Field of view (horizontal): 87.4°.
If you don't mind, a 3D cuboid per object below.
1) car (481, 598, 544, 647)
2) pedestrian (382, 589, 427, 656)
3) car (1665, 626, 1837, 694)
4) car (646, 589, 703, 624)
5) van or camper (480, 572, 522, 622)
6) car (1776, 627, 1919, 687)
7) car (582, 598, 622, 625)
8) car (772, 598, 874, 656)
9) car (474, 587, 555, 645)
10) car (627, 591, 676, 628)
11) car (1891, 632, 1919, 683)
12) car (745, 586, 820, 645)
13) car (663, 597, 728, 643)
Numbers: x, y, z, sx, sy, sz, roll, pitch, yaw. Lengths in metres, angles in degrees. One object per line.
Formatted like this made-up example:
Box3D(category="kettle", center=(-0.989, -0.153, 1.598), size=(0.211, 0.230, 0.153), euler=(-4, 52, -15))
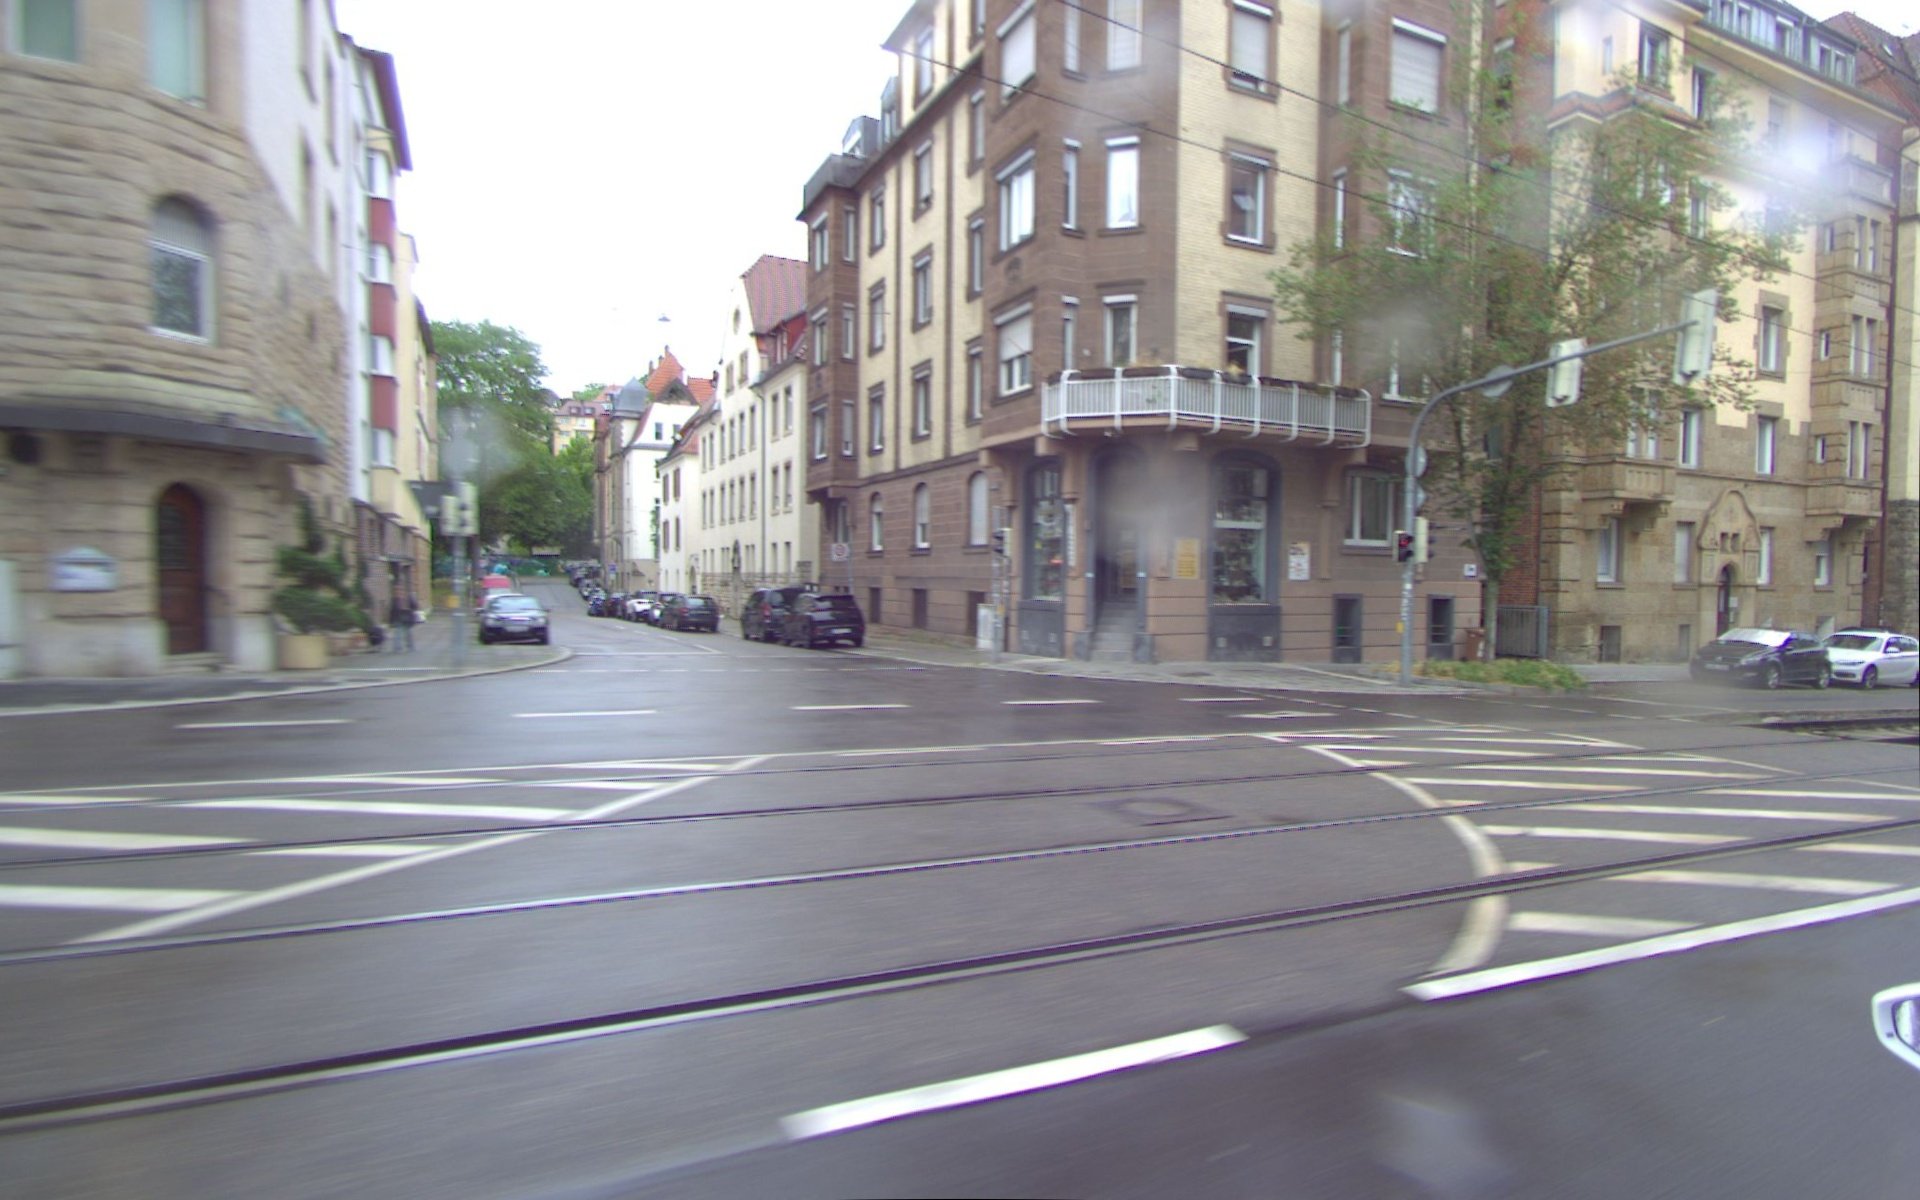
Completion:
Box3D(category="car", center=(-15.081, 0.728, 33.835), size=(1.793, 1.502, 3.975), euler=(2, -1, -25))
Box3D(category="pedestrian", center=(-12.200, 0.493, 22.087), size=(0.711, 1.434, 0.815), euler=(3, -1, -23))
Box3D(category="car", center=(19.565, 1.486, 24.830), size=(3.947, 1.506, 1.759), euler=(3, 0, -26))
Box3D(category="car", center=(-13.262, 0.276, 46.548), size=(1.972, 1.506, 3.976), euler=(2, 0, -24))
Box3D(category="van or camper", center=(-24.824, -0.189, 54.264), size=(1.911, 2.511, 4.713), euler=(2, 0, -26))
Box3D(category="car", center=(24.047, 1.533, 26.915), size=(4.204, 1.445, 1.662), euler=(2, 0, -25))
Box3D(category="car", center=(-22.942, 0.750, 64.312), size=(1.935, 1.625, 3.973), euler=(2, -2, -27))
Box3D(category="car", center=(-4.154, 0.767, 29.878), size=(1.818, 1.586, 4.197), euler=(2, -1, -25))
Box3D(category="car", center=(-12.682, 0.438, 28.471), size=(1.699, 1.511, 3.969), euler=(2, -1, -29))
Box3D(category="car", center=(-16.028, 0.458, 52.116), size=(1.972, 1.773, 3.977), euler=(2, 0, -23))
Box3D(category="car", center=(29.462, 1.706, 29.649), size=(4.091, 1.457, 1.556), euler=(1, 0, -26))
Box3D(category="car", center=(-6.199, 0.498, 34.725), size=(1.785, 1.836, 3.980), euler=(2, 0, -21))
Box3D(category="car", center=(-10.995, 0.790, 41.595), size=(1.812, 1.690, 3.973), euler=(2, 1, -26))
